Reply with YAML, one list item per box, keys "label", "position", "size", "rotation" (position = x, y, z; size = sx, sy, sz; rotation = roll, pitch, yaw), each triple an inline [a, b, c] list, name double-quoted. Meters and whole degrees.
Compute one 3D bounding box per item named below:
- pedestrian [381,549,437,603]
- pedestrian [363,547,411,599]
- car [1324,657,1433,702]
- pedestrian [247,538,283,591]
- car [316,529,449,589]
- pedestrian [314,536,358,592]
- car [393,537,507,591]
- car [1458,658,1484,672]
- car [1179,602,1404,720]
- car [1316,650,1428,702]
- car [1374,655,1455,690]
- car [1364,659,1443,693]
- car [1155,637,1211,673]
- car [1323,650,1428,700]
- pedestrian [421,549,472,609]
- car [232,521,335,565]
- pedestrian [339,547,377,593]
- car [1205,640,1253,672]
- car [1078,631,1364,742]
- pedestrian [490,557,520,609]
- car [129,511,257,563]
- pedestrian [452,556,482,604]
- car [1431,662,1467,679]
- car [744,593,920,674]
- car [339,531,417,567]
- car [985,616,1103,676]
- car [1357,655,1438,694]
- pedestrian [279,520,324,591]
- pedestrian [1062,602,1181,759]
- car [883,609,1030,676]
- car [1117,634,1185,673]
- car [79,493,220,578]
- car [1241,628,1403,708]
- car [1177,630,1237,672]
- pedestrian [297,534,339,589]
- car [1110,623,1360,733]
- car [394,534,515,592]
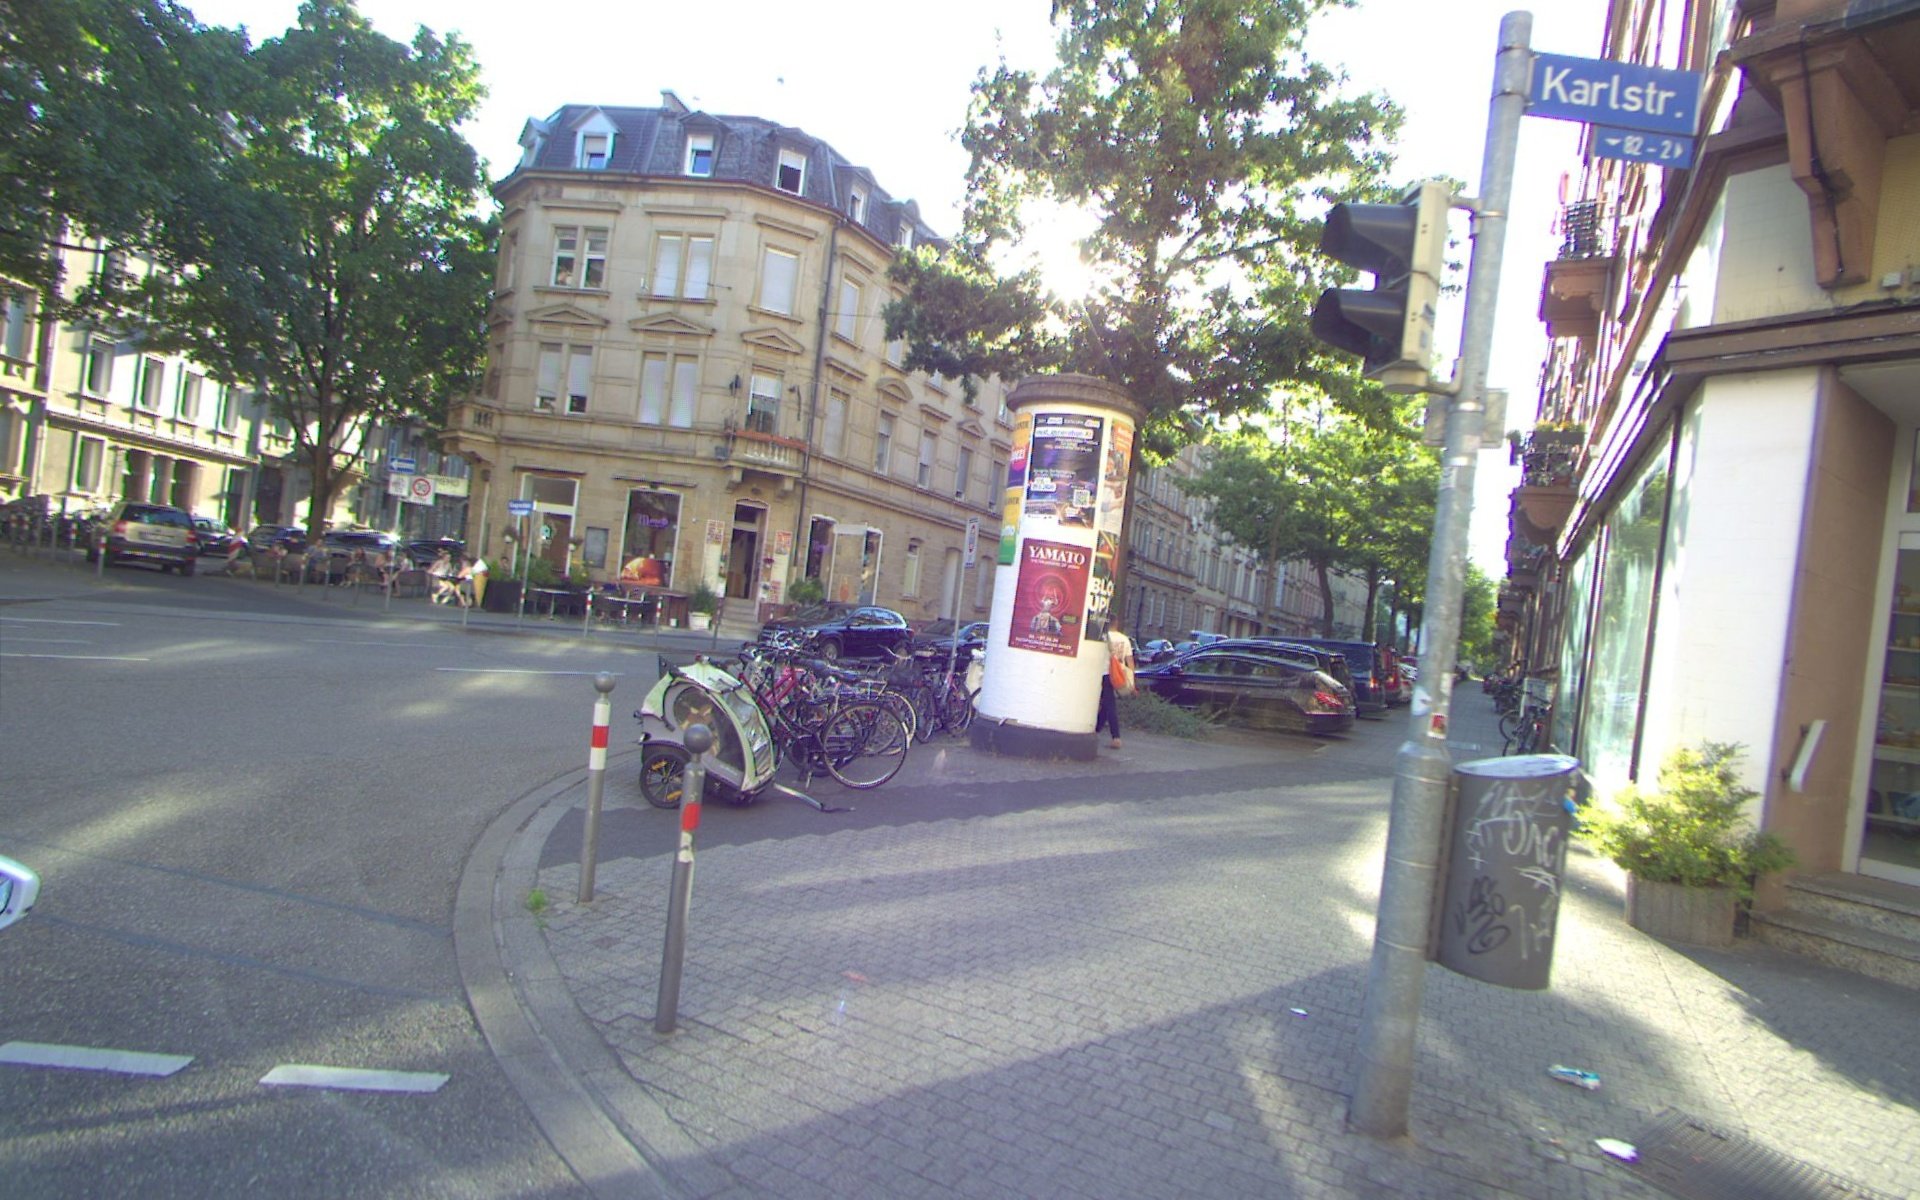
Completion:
- label: "pedestrian"
  position: [-14.437, -0.627, 26.378]
  size: [1.006, 1.264, 0.748]
  rotation: [7, 1, 26]
- label: "pedestrian"
  position: [-15.239, -0.716, 26.762]
  size: [0.694, 1.264, 0.748]
  rotation: [7, 1, 26]
- label: "car"
  position: [18.700, 3.520, 44.984]
  size: [4.284, 1.576, 1.847]
  rotation: [4, 0, 28]
- label: "pedestrian"
  position: [-18.559, -0.945, 26.874]
  size: [0.497, 1.337, 0.569]
  rotation: [7, 1, 39]
- label: "car"
  position: [-20.578, -1.458, 35.886]
  size: [3.804, 1.581, 1.785]
  rotation: [8, -1, -37]
- label: "pedestrian"
  position: [-17.252, -0.998, 27.803]
  size: [0.659, 1.459, 0.763]
  rotation: [6, 0, 41]
- label: "car"
  position: [-21.283, -1.501, 42.010]
  size: [3.960, 1.704, 1.983]
  rotation: [8, -1, -32]
- label: "car"
  position: [95.122, 12.072, 187.234]
  size: [3.938, 1.882, 1.745]
  rotation: [8, 1, 37]
- label: "car"
  position: [8.345, 1.494, 25.414]
  size: [4.950, 2.242, 1.990]
  rotation: [7, 0, 28]
- label: "car"
  position: [16.632, 3.068, 40.655]
  size: [3.953, 1.647, 1.803]
  rotation: [5, -1, 27]
- label: "car"
  position: [32.306, 5.128, 71.519]
  size: [4.987, 1.949, 1.832]
  rotation: [4, -1, 29]
- label: "car"
  position: [26.783, 4.564, 60.904]
  size: [4.157, 1.631, 1.835]
  rotation: [5, -1, 21]
- label: "car"
  position: [11.281, 2.790, 50.763]
  size: [1.570, 1.493, 3.693]
  rotation: [9, 1, 30]
- label: "car"
  position: [19.626, 3.490, 47.488]
  size: [4.380, 1.949, 1.847]
  rotation: [4, 0, 26]
- label: "pedestrian"
  position: [-13.261, -0.540, 25.986]
  size: [0.742, 1.428, 0.728]
  rotation: [7, 0, 17]
- label: "car"
  position: [-28.048, -2.323, 41.869]
  size: [1.895, 1.393, 3.749]
  rotation: [7, -1, -6]
- label: "pedestrian"
  position: [-17.157, -0.860, 28.681]
  size: [0.658, 1.231, 0.674]
  rotation: [6, 0, 39]
- label: "car"
  position: [16.384, 3.422, 61.121]
  size: [1.729, 1.628, 4.378]
  rotation: [9, 1, 28]
- label: "car"
  position: [4.790, 1.534, 18.658]
  size: [4.721, 1.430, 1.848]
  rotation: [5, -2, 31]
- label: "pedestrian"
  position: [-12.635, -0.478, 27.953]
  size: [0.473, 1.384, 0.433]
  rotation: [7, 1, 20]
- label: "car"
  position: [-27.811, -2.244, 36.624]
  size: [1.895, 1.393, 3.749]
  rotation: [7, -1, -6]
- label: "pedestrian"
  position: [-13.773, -0.562, 28.095]
  size: [0.473, 1.264, 0.433]
  rotation: [7, 1, 26]
- label: "car"
  position: [59.257, 8.525, 121.866]
  size: [3.796, 1.593, 1.715]
  rotation: [4, -1, 28]
- label: "car"
  position: [-2.865, 0.826, 23.416]
  size: [1.735, 1.505, 4.130]
  rotation: [6, -1, 32]
- label: "car"
  position: [-29.359, -2.558, 50.897]
  size: [1.895, 1.393, 3.749]
  rotation: [7, -1, -6]
- label: "car"
  position: [2.779, 1.521, 32.193]
  size: [1.735, 1.619, 4.540]
  rotation: [6, -1, 32]
- label: "car"
  position: [25.559, 4.335, 58.786]
  size: [4.161, 1.798, 1.833]
  rotation: [4, -1, 27]
- label: "pedestrian"
  position: [-17.673, -1.192, 26.984]
  size: [0.564, 1.792, 0.763]
  rotation: [6, 0, 41]
- label: "pedestrian"
  position: [2.155, 1.063, 13.514]
  size: [0.835, 1.922, 1.107]
  rotation: [7, 0, -34]
- label: "car"
  position: [-0.004, 1.227, 27.862]
  size: [1.736, 1.469, 4.539]
  rotation: [6, -1, 33]
- label: "car"
  position: [8.959, 2.512, 46.926]
  size: [1.735, 1.519, 4.052]
  rotation: [6, -1, 30]
- label: "car"
  position: [-20.473, -1.639, 25.358]
  size: [3.943, 1.704, 1.991]
  rotation: [7, 0, 41]
- label: "car"
  position: [11.598, 2.149, 32.275]
  size: [4.607, 2.058, 1.877]
  rotation: [5, -1, 26]
- label: "car"
  position: [13.768, 2.851, 55.828]
  size: [1.806, 1.967, 5.253]
  rotation: [9, 1, 28]
- label: "pedestrian"
  position: [-18.099, -1.088, 28.360]
  size: [0.659, 1.459, 0.763]
  rotation: [6, 0, 41]
- label: "car"
  position: [5.704, 1.586, 21.053]
  size: [4.624, 1.699, 1.848]
  rotation: [5, -1, 30]
- label: "car"
  position: [-19.863, -1.425, 39.721]
  size: [3.947, 1.704, 1.989]
  rotation: [7, 0, -23]
